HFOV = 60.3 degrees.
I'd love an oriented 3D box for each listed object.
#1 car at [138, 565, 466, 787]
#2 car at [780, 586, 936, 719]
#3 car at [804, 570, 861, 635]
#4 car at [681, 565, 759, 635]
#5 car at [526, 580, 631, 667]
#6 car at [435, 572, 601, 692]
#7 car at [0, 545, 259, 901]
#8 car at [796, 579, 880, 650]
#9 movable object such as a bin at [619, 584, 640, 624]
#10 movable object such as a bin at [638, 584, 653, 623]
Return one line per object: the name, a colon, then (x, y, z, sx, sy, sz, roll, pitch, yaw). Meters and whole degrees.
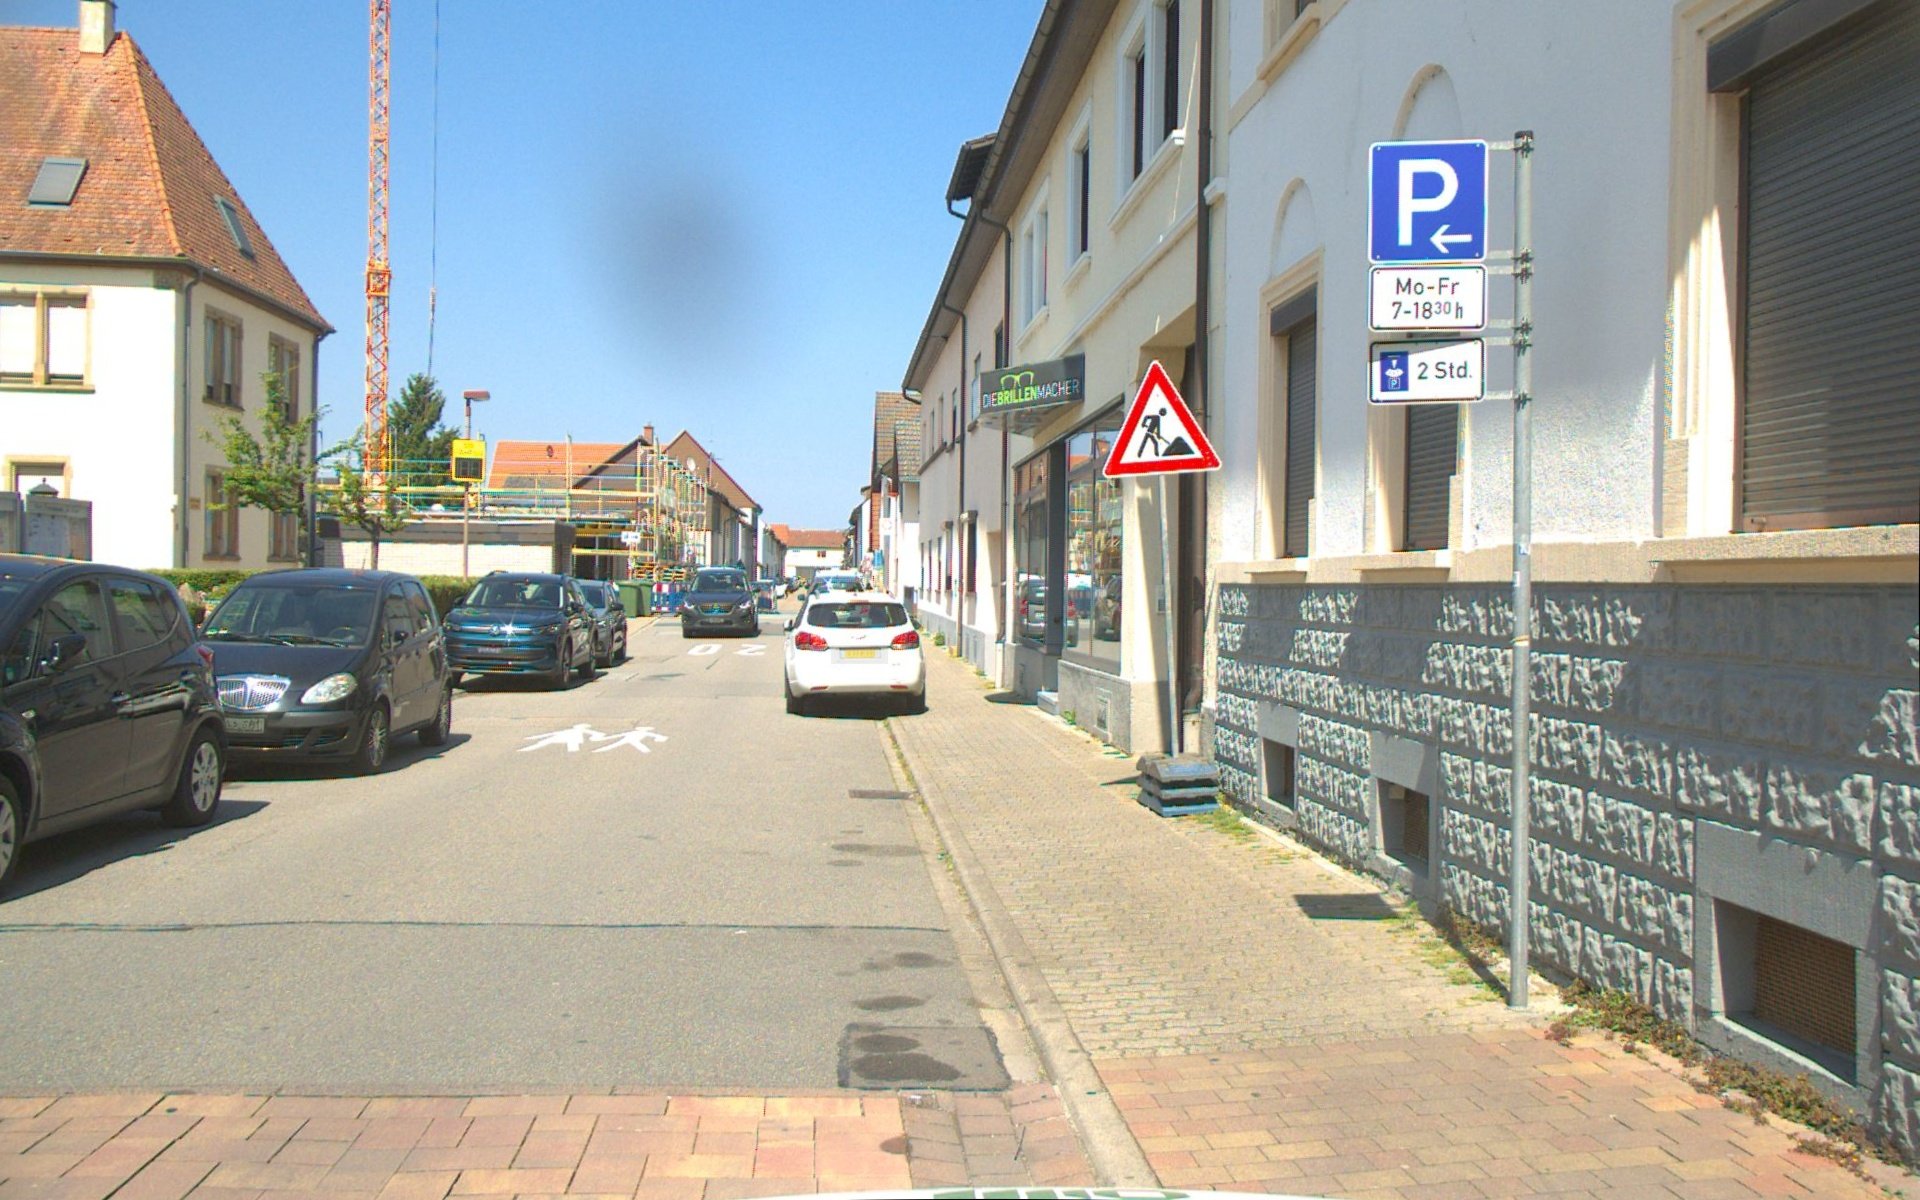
car: (-5.496, 0.549, 14.302, 1.606, 1.657, 3.764, 1, 1, -5)
car: (-1.407, 0.616, 21.923, 1.850, 1.569, 4.238, 1, 0, -5)
car: (-3.624, 0.032, 46.780, 1.533, 1.641, 3.540, 1, 3, -5)
car: (-6.193, -0.020, 43.036, 1.845, 1.697, 4.148, 1, 0, -6)
car: (-6.975, 0.396, 30.524, 1.408, 1.500, 3.781, 0, 0, -6)
car: (-6.605, 0.428, 25.114, 1.791, 1.659, 4.211, 1, 0, -6)
car: (-5.355, 0.543, 8.721, 1.779, 1.633, 4.022, 1, 0, -3)
car: (-3.114, 0.323, 41.631, 1.849, 1.583, 3.888, -3, 1, -7)
movable object such as a bin: (-9.905, 0.108, 49.560, 0.611, 1.176, 0.675, 1, 1, -12)
movable object such as a bin: (-9.514, 0.100, 50.074, 0.424, 1.176, 0.363, 0, 0, -15)
